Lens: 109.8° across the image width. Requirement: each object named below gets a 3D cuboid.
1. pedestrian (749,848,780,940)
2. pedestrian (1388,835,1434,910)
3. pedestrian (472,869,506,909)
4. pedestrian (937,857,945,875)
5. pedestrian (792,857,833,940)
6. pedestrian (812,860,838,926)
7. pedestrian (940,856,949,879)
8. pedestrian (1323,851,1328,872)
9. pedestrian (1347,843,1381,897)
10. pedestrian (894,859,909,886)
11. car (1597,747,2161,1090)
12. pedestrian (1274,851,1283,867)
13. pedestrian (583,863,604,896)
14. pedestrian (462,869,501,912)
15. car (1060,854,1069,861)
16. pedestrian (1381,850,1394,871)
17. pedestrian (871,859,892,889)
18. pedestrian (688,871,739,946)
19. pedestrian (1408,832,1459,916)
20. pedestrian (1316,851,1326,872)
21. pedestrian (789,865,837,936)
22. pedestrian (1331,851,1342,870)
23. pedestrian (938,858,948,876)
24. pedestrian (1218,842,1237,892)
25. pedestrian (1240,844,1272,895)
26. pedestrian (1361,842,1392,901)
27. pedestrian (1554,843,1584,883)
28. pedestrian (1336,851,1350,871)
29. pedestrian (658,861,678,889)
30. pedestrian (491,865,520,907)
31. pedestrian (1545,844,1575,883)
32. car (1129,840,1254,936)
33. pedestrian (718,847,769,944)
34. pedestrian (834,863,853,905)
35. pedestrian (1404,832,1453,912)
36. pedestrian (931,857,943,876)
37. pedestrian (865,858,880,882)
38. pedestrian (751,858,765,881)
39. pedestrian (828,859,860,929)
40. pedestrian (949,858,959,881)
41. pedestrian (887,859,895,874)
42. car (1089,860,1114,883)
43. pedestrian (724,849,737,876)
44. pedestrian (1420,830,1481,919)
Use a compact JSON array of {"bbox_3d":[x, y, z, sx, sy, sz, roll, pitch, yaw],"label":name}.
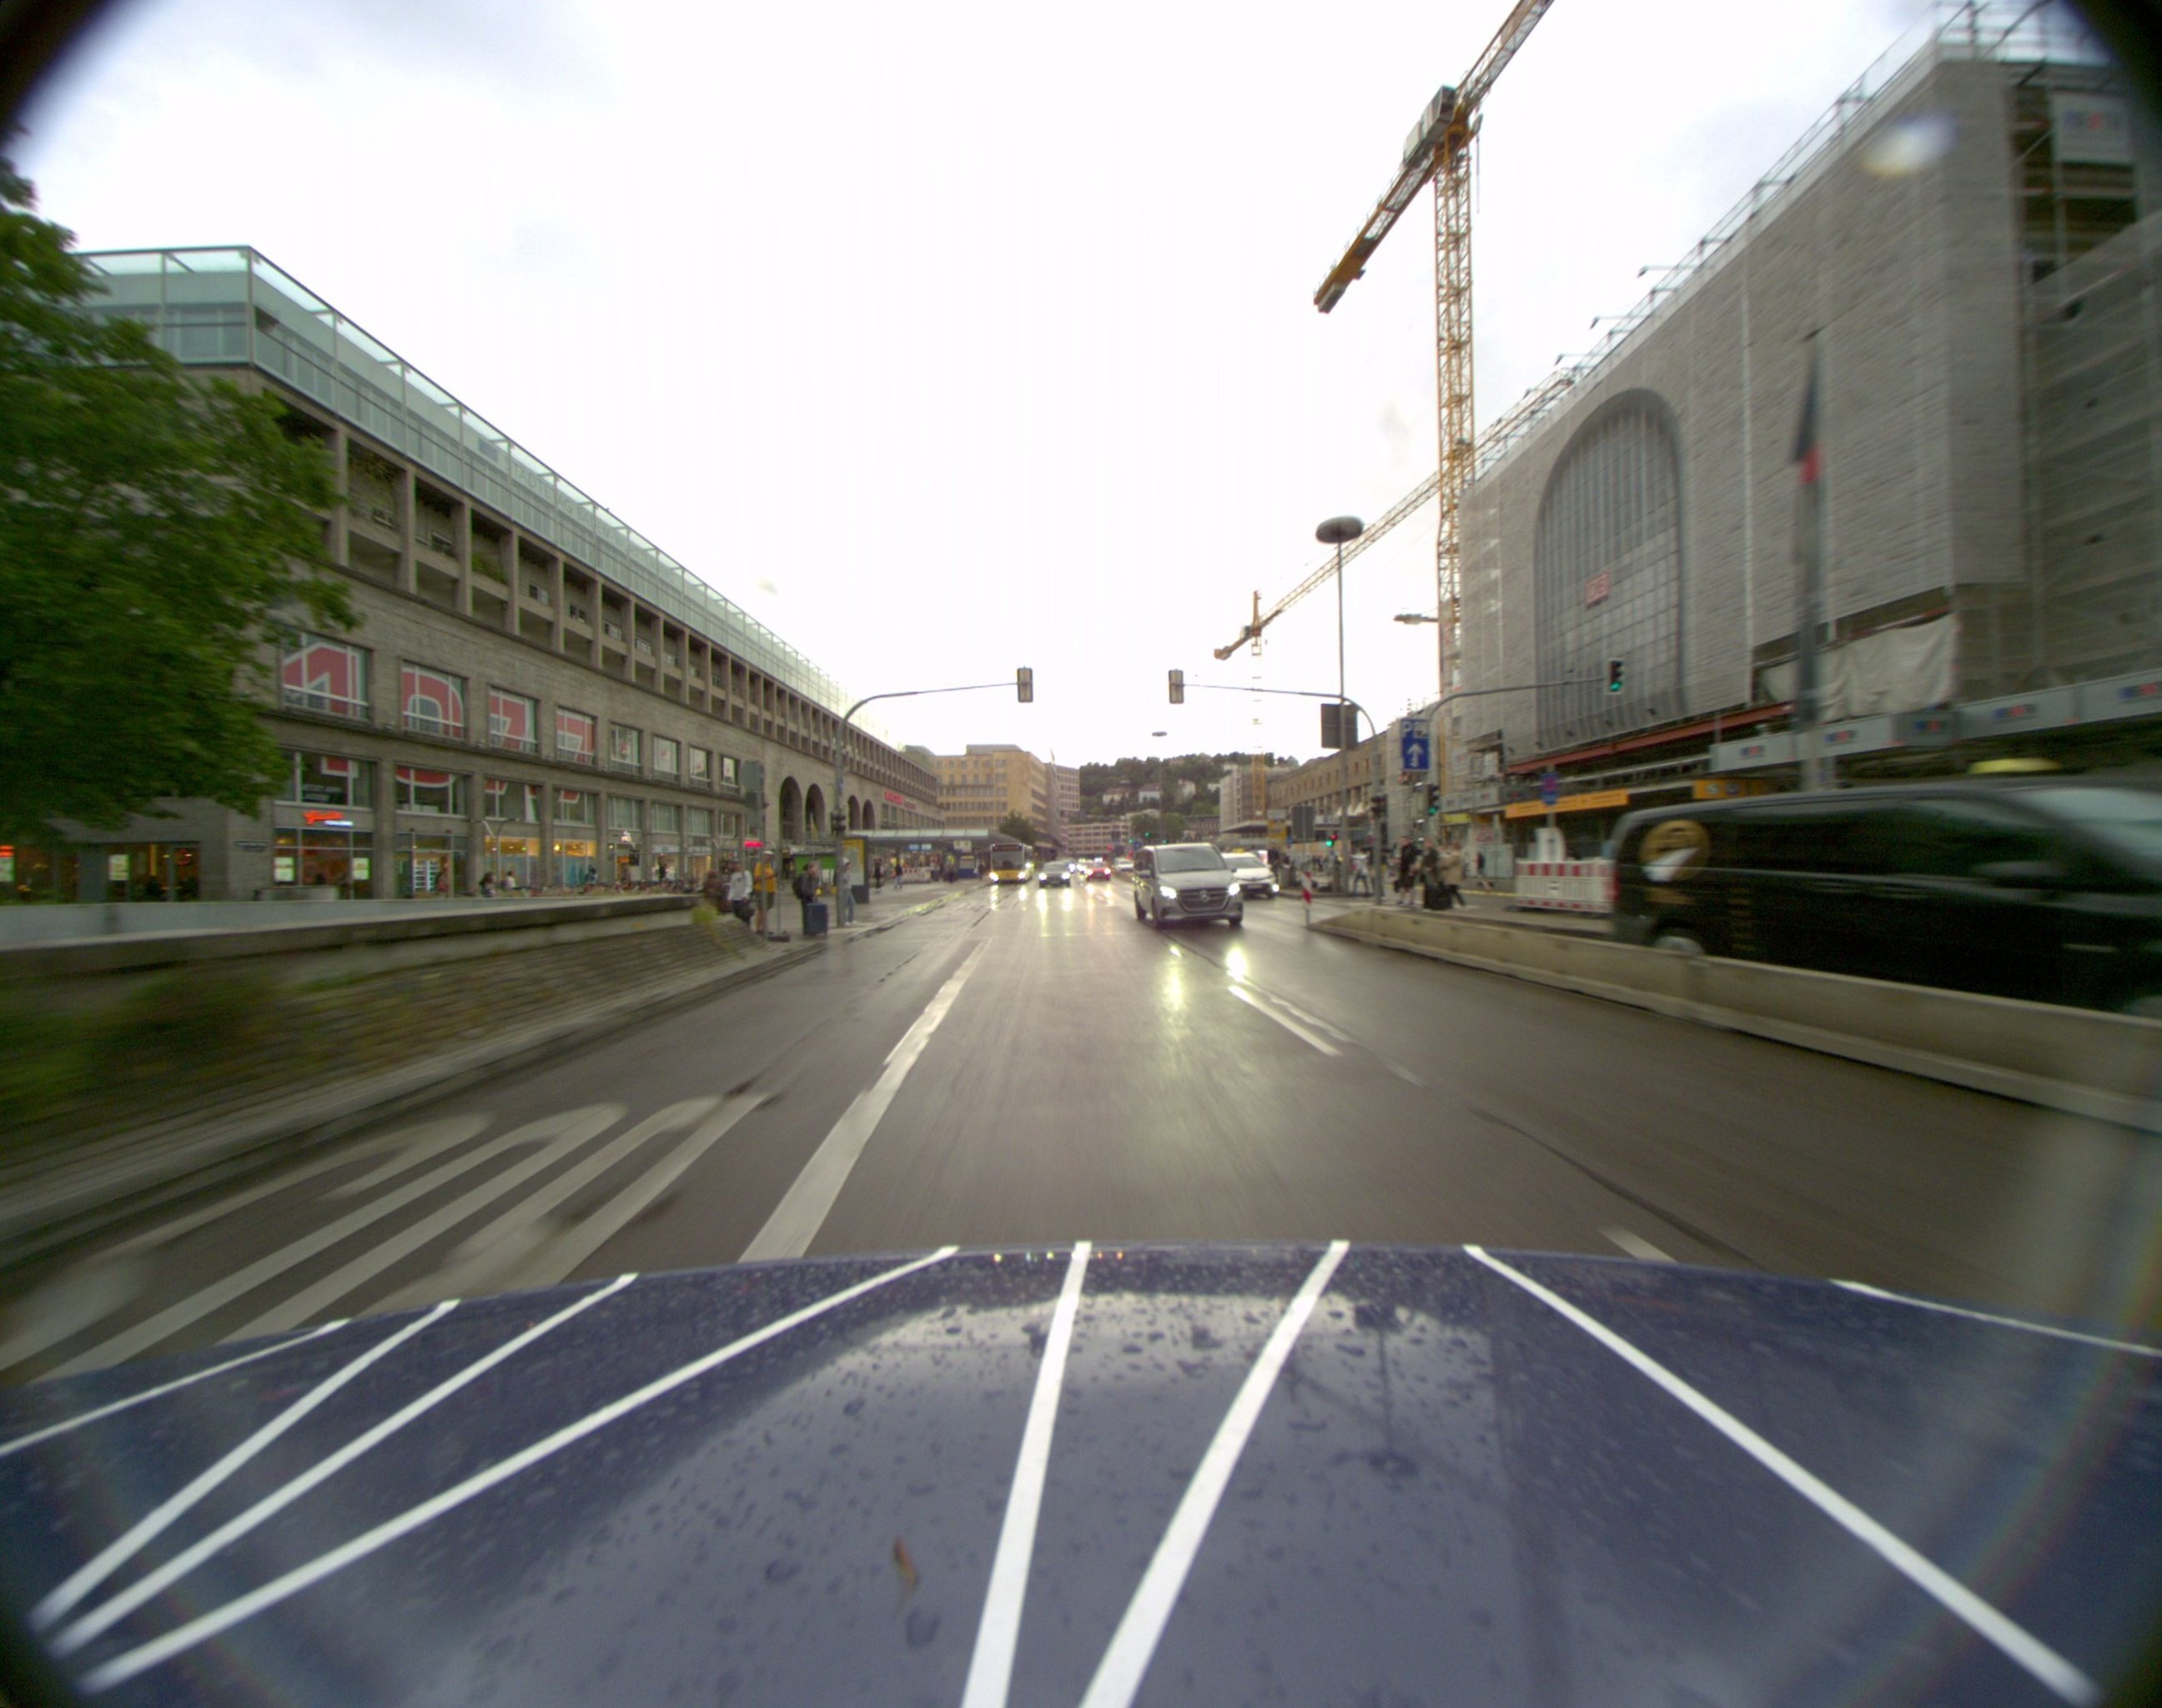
[{"bbox_3d":[-7.467,0.928,17.962,0.556,2.133,0.667,-1,1,-15],"label":"pedestrian"},{"bbox_3d":[8.475,0.454,19.521,0.833,1.875,0.690,-1,0,-11],"label":"pedestrian"},{"bbox_3d":[-23.041,1.341,29.577,0.670,1.515,0.783,-1,0,10],"label":"pedestrian"},{"bbox_3d":[-15.157,1.315,82.253,0.596,1.863,0.592,-1,1,33],"label":"pedestrian"},{"bbox_3d":[-6.114,0.980,17.356,0.789,1.828,0.949,-1,1,-15],"label":"pedestrian"},{"bbox_3d":[-7.214,1.082,21.410,0.541,1.794,0.756,-1,1,-29],"label":"pedestrian"},{"bbox_3d":[-11.897,1.161,66.175,0.796,1.918,0.705,-1,1,-11],"label":"pedestrian"},{"bbox_3d":[21.459,0.633,66.569,0.339,1.830,0.510,-2,0,15],"label":"pedestrian"},{"bbox_3d":[8.917,0.486,23.966,0.715,1.655,0.836,-1,0,-1],"label":"pedestrian"},{"bbox_3d":[-10.655,1.084,45.174,0.652,1.609,0.502,-1,1,14],"label":"pedestrian"},{"bbox_3d":[6.644,0.305,5.539,1.999,1.834,5.060,-2,1,-5],"label":"car"},{"bbox_3d":[24.037,0.618,92.465,0.744,1.928,0.864,-4,1,-4],"label":"pedestrian"},{"bbox_3d":[-25.561,1.311,39.839,0.598,1.679,0.708,-1,1,-1],"label":"pedestrian"},{"bbox_3d":[-24.317,1.478,30.827,0.794,1.665,0.889,-2,1,7],"label":"pedestrian"},{"bbox_3d":[-4.166,0.921,195.380,1.998,1.873,4.997,-1,0,1],"label":"car"},{"bbox_3d":[23.555,0.472,58.440,0.678,1.604,0.839,-2,0,2],"label":"pedestrian"},{"bbox_3d":[-10.913,1.096,41.562,0.787,1.632,0.790,-1,1,14],"label":"pedestrian"},{"bbox_3d":[-7.817,1.148,16.179,0.657,1.546,0.635,-2,1,13],"label":"pedestrian"},{"bbox_3d":[8.114,0.454,17.515,1.005,1.875,0.684,-1,0,22],"label":"pedestrian"},{"bbox_3d":[21.262,0.630,67.342,0.702,1.830,0.879,-1,0,29],"label":"pedestrian"},{"bbox_3d":[-6.577,1.120,18.653,0.877,1.681,0.758,-1,0,-1],"label":"pedestrian"},{"bbox_3d":[24.675,0.650,73.407,0.804,1.830,0.851,-2,0,3],"label":"pedestrian"},{"bbox_3d":[-13.668,1.272,75.362,0.750,1.685,0.902,-2,0,3],"label":"pedestrian"},{"bbox_3d":[6.015,0.525,31.214,0.529,2.002,0.890,-1,0,-3],"label":"pedestrian"},{"bbox_3d":[7.021,0.626,30.439,0.834,2.002,1.030,-1,0,37],"label":"pedestrian"},{"bbox_3d":[8.836,0.526,22.727,0.584,1.725,0.756,-1,0,-1],"label":"pedestrian"},{"bbox_3d":[22.382,0.413,34.878,0.728,1.830,0.993,-1,0,-1],"label":"pedestrian"},{"bbox_3d":[24.152,0.652,70.048,0.841,1.830,1.058,-2,0,3],"label":"pedestrian"},{"bbox_3d":[-25.551,1.300,47.012,0.723,1.686,0.776,-2,1,-2],"label":"pedestrian"},{"bbox_3d":[-22.349,1.237,29.513,0.646,1.592,0.616,0,2,6],"label":"pedestrian"},{"bbox_3d":[22.943,0.470,36.389,0.820,1.830,0.936,-1,0,-1],"label":"pedestrian"},{"bbox_3d":[2.460,0.707,18.338,1.999,1.893,5.249,-3,0,-2],"label":"car"},{"bbox_3d":[-7.569,0.916,17.057,0.709,2.133,0.722,-1,1,11],"label":"pedestrian"},{"bbox_3d":[-11.190,1.399,35.853,0.708,1.921,0.788,-1,1,-10],"label":"pedestrian"},{"bbox_3d":[8.364,0.434,18.307,1.005,1.875,0.818,-1,0,22],"label":"pedestrian"},{"bbox_3d":[-13.627,1.168,72.048,0.790,1.794,0.990,-1,1,-29],"label":"pedestrian"},{"bbox_3d":[-15.877,1.229,57.870,0.733,1.782,0.757,-1,1,14],"label":"pedestrian"},{"bbox_3d":[-26.038,1.244,61.290,0.733,1.782,0.789,-1,1,-1],"label":"pedestrian"},{"bbox_3d":[-6.219,1.038,19.993,0.748,1.794,0.708,-1,1,-15],"label":"pedestrian"},{"bbox_3d":[-9.183,1.095,54.963,0.595,1.609,0.511,-2,1,-11],"label":"pedestrian"},{"bbox_3d":[-21.265,1.392,85.045,0.796,1.609,0.870,-1,1,-11],"label":"pedestrian"},{"bbox_3d":[1.503,1.254,55.902,1.709,1.485,3.670,-2,1,1],"label":"car"},{"bbox_3d":[-25.311,0.591,54.869,0.790,1.918,0.653,-1,1,-25],"label":"pedestrian"},{"bbox_3d":[8.098,0.433,16.698,0.835,1.870,1.028,-1,0,1],"label":"pedestrian"}]
